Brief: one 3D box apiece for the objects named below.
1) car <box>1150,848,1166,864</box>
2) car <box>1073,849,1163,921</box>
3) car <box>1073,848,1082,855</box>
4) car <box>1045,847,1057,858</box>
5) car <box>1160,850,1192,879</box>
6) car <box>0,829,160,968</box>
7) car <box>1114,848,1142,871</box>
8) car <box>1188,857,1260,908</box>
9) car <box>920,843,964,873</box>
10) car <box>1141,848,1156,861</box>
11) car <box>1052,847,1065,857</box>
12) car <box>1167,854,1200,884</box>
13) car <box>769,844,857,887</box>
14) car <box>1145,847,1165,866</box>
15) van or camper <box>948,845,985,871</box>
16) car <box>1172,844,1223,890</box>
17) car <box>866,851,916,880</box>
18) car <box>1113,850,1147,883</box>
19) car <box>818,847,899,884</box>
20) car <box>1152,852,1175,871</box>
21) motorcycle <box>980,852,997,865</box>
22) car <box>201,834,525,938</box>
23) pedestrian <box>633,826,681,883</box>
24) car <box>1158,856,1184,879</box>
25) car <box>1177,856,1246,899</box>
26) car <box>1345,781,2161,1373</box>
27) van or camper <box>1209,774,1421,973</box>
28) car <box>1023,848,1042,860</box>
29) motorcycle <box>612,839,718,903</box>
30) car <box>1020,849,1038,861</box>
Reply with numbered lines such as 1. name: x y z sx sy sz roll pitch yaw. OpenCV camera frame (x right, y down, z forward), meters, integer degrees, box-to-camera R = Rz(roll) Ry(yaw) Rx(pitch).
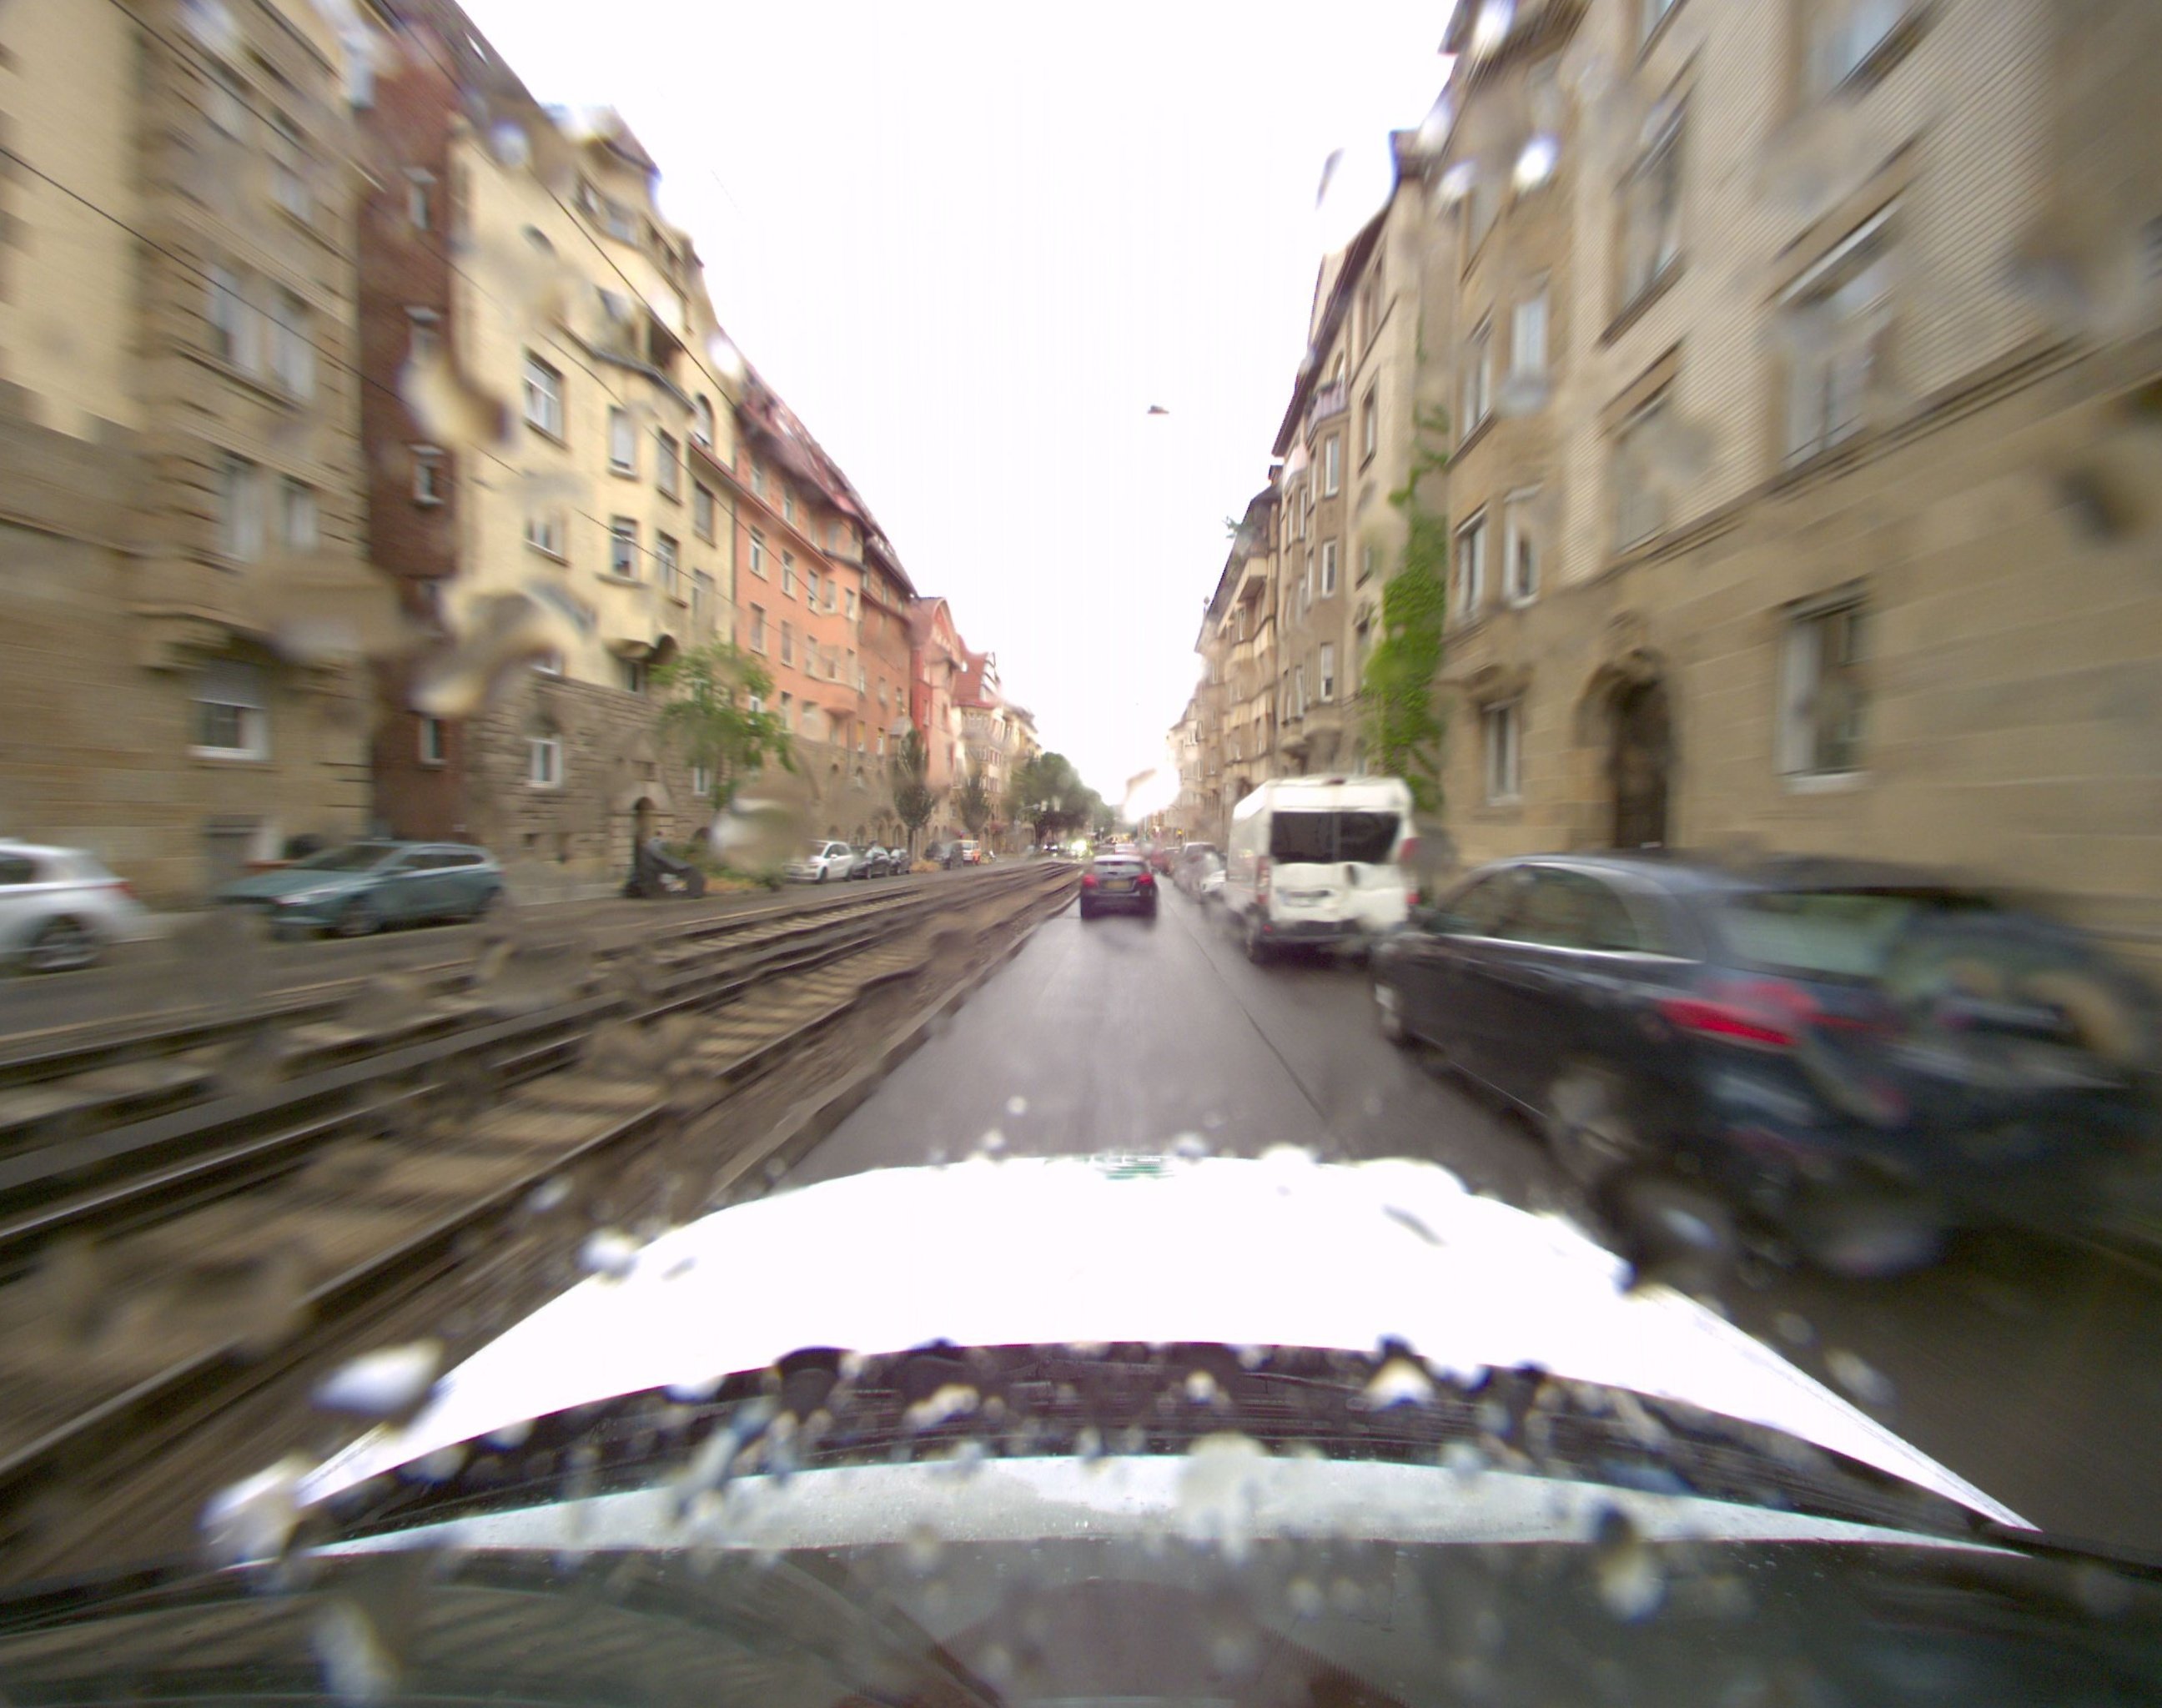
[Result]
1. car: 9.570 0.279 102.054 1.890 2.028 4.180 0 -1 4
2. car: 0.866 0.683 19.406 1.938 1.564 3.645 0 0 2
3. car: -0.723 -0.513 163.460 1.790 1.548 3.999 0 0 0
4. car: -4.702 -0.248 127.751 1.785 1.691 3.997 1 0 -2
5. car: 5.638 0.588 48.628 1.702 1.628 4.005 1 0 5
6. car: -11.958 0.446 7.595 1.659 1.426 4.268 1 0 5
7. car: 3.592 0.379 61.639 1.912 1.655 4.005 1 0 5
8. car: 4.237 0.798 24.669 1.669 1.411 4.003 0 0 3
9. car: -9.315 0.243 55.025 1.986 1.901 4.701 -1 0 2
10. car: 9.441 0.075 114.313 1.763 1.776 3.999 0 -1 0
11. car: -3.942 -0.345 144.981 1.985 1.794 4.004 1 0 4
12. car: 5.506 0.790 44.001 1.552 1.478 3.464 2 0 4
13. car: -10.501 0.427 32.252 1.777 1.589 4.355 -1 0 4
14. car: 6.421 0.201 70.977 1.542 1.508 4.004 2 0 4
15. van or camper: -8.796 0.276 62.838 1.986 1.901 4.700 1 0 2
16. car: 4.760 0.500 33.819 1.767 1.776 4.365 0 0 4
17. car: -9.991 0.587 43.052 1.636 1.398 3.884 1 0 1
18. car: 2.360 0.562 39.139 1.529 1.510 4.004 1 0 4
19. car: -10.271 0.481 38.015 1.984 1.509 4.980 3 0 4
20. car: 6.624 0.608 65.357 1.596 1.419 3.150 1 0 2
21. motorcycle: -8.338 0.393 73.260 1.423 1.134 0.624 1 0 33
22. car: -11.633 0.454 13.660 1.554 1.438 4.149 1 0 3
23. pedestrian: -13.470 0.007 25.897 1.003 1.753 0.925 0 1 3
24. car: 6.378 0.937 57.907 1.630 1.543 3.469 1 0 4
25. car: 4.585 0.786 29.110 1.986 1.441 4.002 0 0 2
26. car: 3.053 0.691 4.784 1.761 1.808 4.486 1 0 3
27. van or camper: 3.402 0.254 13.256 2.055 2.469 6.124 0 0 4
28. car: -6.287 0.008 106.814 1.985 1.517 4.004 1 0 4
29. motorcycle: -11.106 0.448 21.873 2.262 1.642 1.287 1 0 -14
30. car: -6.460 0.079 101.489 1.764 1.464 4.004 0 0 4
